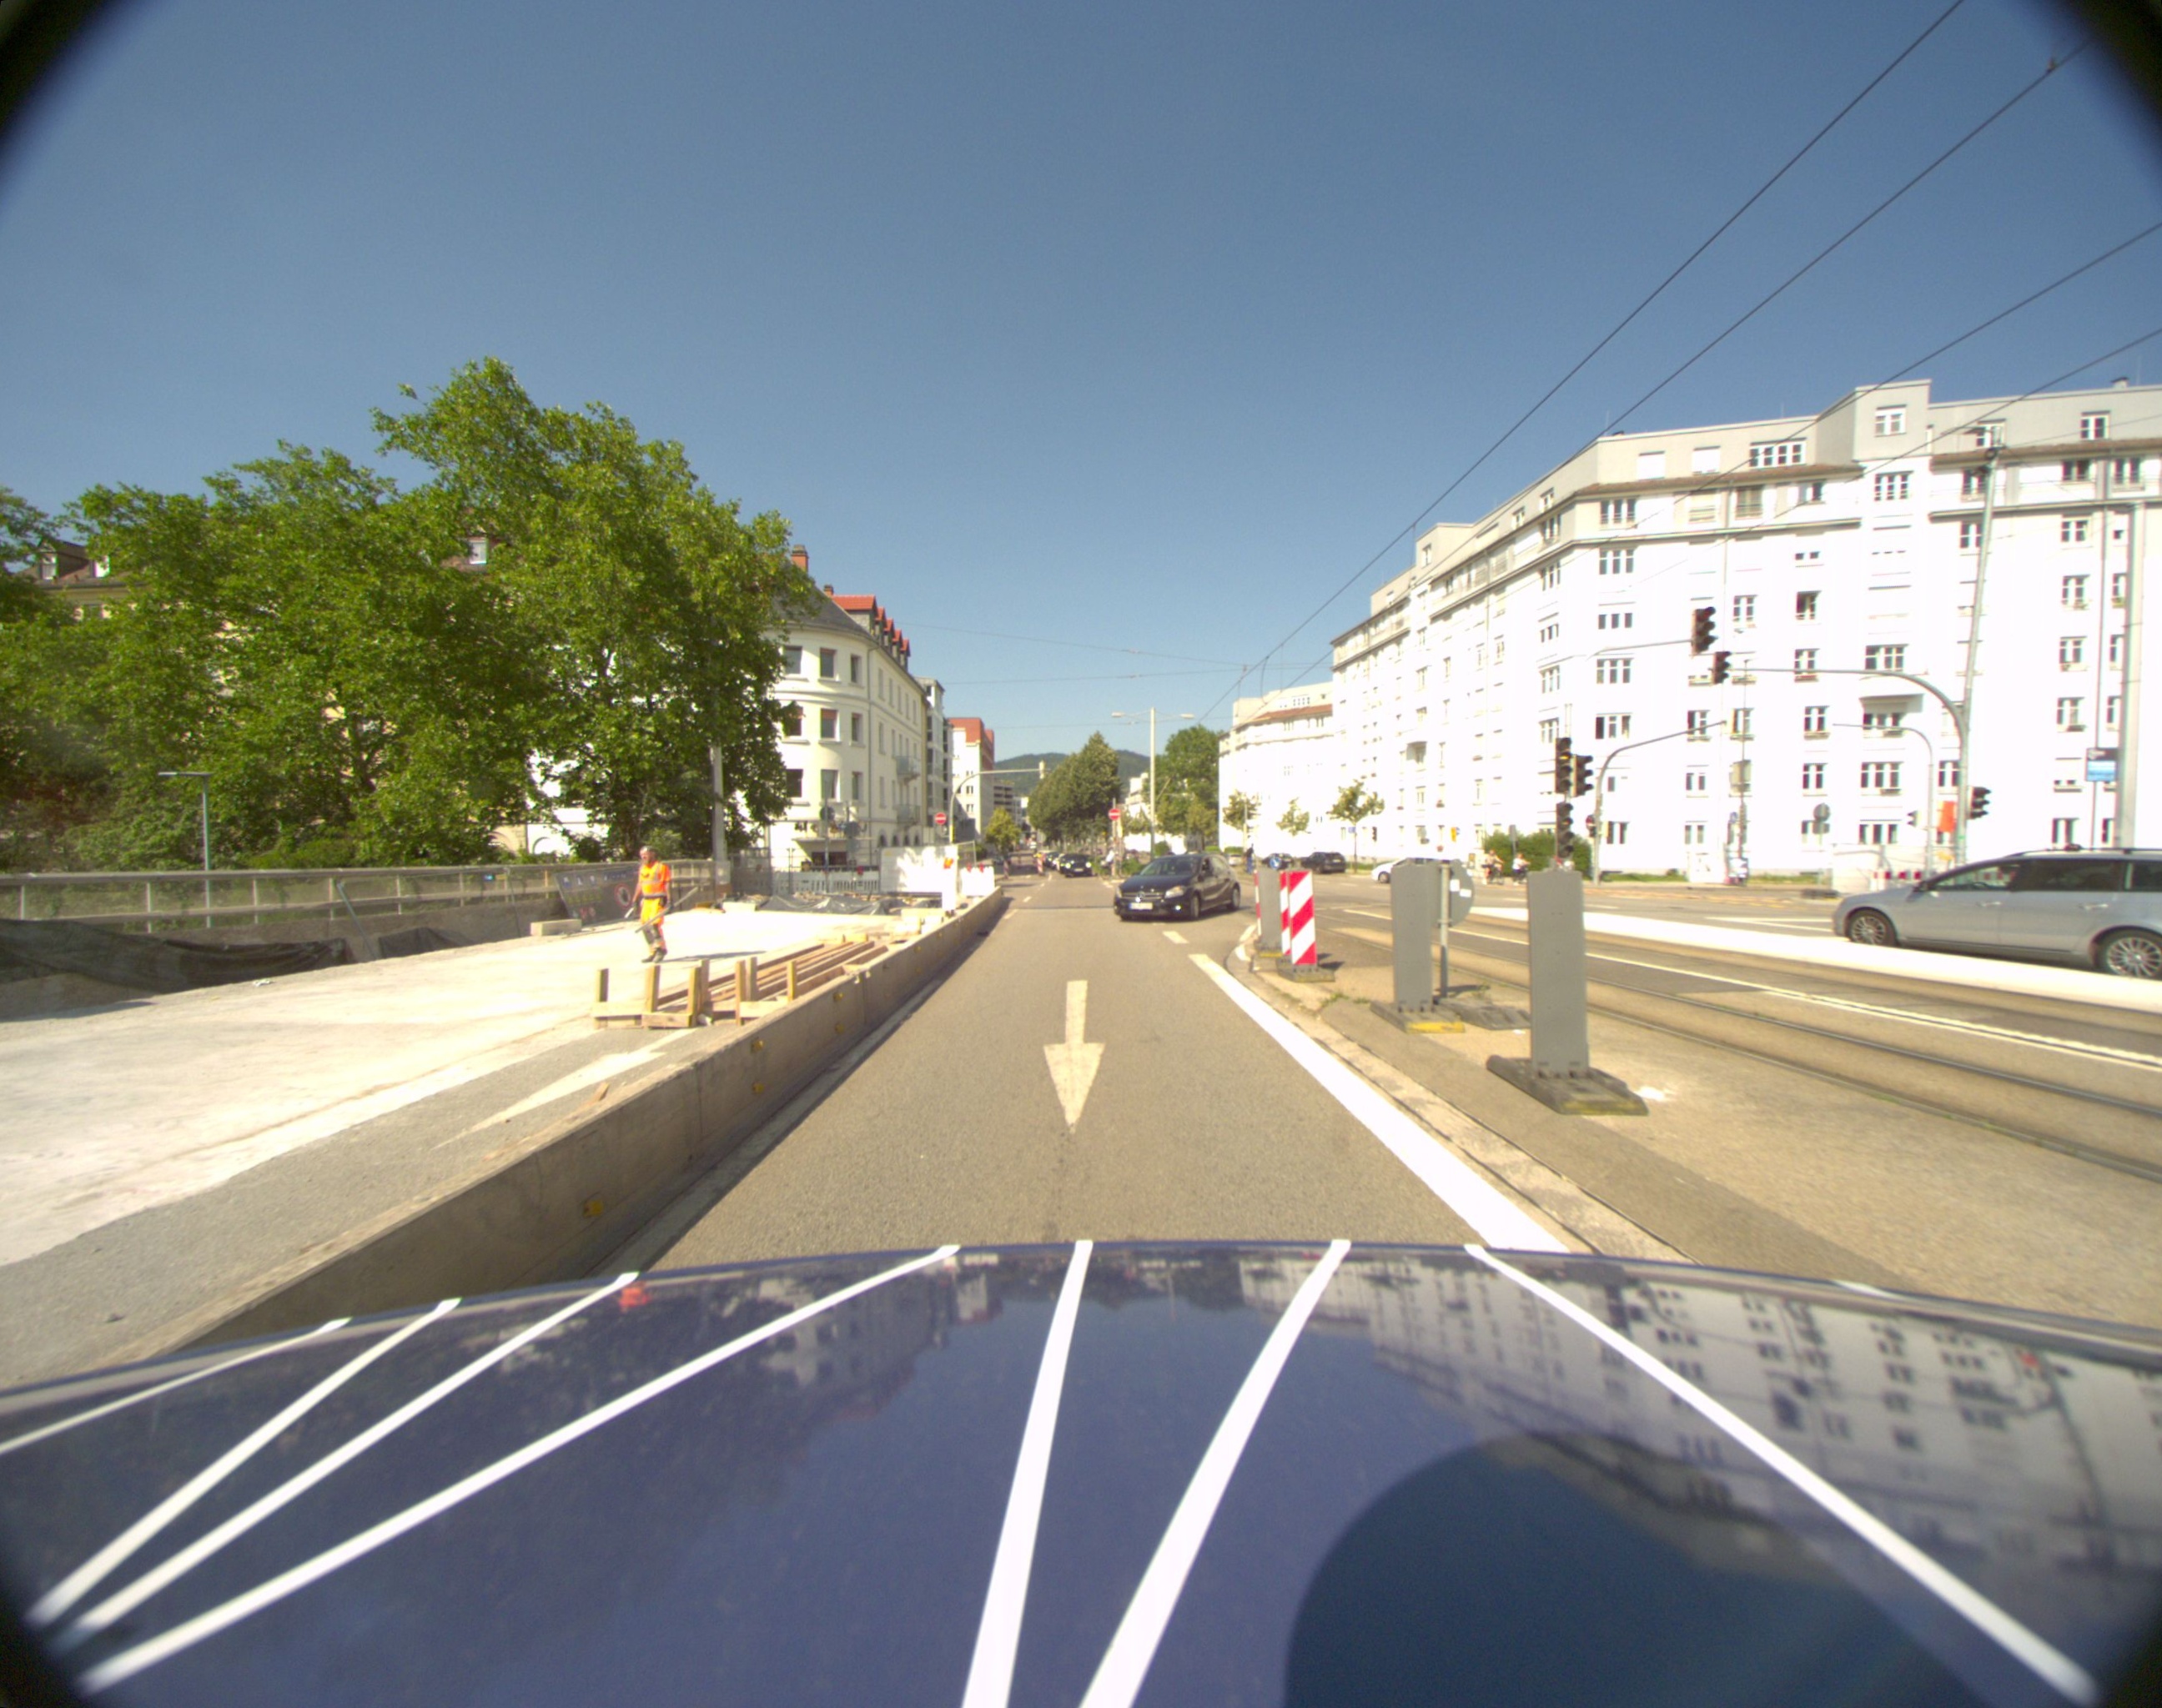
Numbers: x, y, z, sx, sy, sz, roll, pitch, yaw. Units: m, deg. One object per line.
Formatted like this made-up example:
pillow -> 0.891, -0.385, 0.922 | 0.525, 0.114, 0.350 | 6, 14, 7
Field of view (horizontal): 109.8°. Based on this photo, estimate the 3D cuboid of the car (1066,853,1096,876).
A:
car -> 0.046, 0.658, 48.496 | 1.767, 1.313, 4.000 | -1, 0, 1

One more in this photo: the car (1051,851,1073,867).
car -> -1.734, 0.455, 68.351 | 1.767, 1.346, 3.998 | -1, 1, -4

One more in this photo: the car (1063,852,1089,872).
car -> -0.388, 0.541, 56.234 | 1.767, 1.346, 3.999 | -1, 0, -1

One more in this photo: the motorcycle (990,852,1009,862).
motorcycle -> -9.559, 0.356, 89.135 | 2.177, 1.159, 0.744 | 0, 1, 1

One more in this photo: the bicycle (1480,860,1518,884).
bicycle -> 20.763, 0.865, 37.790 | 0.619, 1.093, 1.784 | -1, 2, -12

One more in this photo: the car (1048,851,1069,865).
car -> -2.249, 0.357, 75.387 | 1.768, 1.346, 3.997 | -1, 1, -6

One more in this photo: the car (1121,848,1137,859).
car -> 6.445, -0.073, 102.488 | 1.696, 1.547, 3.654 | 0, 1, -3

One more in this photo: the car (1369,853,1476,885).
car -> 16.595, 0.683, 37.132 | 1.705, 1.404, 4.473 | -1, 1, -39

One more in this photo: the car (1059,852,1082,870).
car -> -0.881, 0.524, 62.004 | 1.767, 1.346, 3.999 | -1, 0, -2

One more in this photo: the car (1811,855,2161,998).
car -> 11.940, 0.763, 9.232 | 1.642, 1.429, 4.643 | 1, 1, 0

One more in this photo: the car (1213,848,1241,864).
car -> 14.357, 0.166, 74.805 | 1.740, 1.476, 3.738 | -1, 1, -5

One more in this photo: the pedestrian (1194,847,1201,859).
pedestrian -> 16.534, -0.157, 107.728 | 0.858, 1.656, 0.910 | 0, 1, 0

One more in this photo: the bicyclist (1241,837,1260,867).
bicyclist -> 9.739, -0.112, 43.613 | 1.008, 1.644, 0.810 | -2, -1, 12

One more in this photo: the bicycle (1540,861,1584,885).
bicycle -> 22.934, 0.878, 36.274 | 0.605, 1.093, 1.812 | -1, 1, -16

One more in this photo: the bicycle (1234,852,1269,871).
bicycle -> 9.797, 0.436, 43.602 | 1.909, 1.014, 0.822 | -2, -1, 12

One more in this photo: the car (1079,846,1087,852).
car -> 0.492, -1.185, 183.076 | 1.798, 1.476, 3.739 | -1, 1, -3

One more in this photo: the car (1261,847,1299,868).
car -> 16.273, 0.286, 62.268 | 1.740, 1.628, 3.737 | -1, 1, -7

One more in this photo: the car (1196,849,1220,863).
car -> 13.883, 0.163, 83.060 | 1.740, 1.476, 3.738 | -1, 1, -5

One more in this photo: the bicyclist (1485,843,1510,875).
bicyclist -> 20.742, 0.240, 37.819 | 0.624, 1.581, 0.916 | -1, 2, -12

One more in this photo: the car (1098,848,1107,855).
car -> 4.855, -0.655, 172.867 | 1.798, 1.476, 3.739 | -1, 1, -3

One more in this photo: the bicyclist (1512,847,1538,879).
bicyclist -> 21.741, 0.427, 37.191 | 0.624, 1.570, 0.916 | -2, 1, -13

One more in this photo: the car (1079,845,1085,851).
car -> 0.289, -1.860, 222.282 | 1.798, 1.672, 3.739 | -1, 1, -3

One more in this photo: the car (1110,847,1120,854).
car -> 7.335, -0.842, 162.461 | 1.739, 1.476, 3.739 | -1, 1, -3

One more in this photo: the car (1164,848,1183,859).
car -> 12.525, -0.101, 103.155 | 1.740, 1.476, 3.738 | -1, 1, -5

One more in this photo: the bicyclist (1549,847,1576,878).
bicyclist -> 22.946, 0.408, 36.200 | 0.598, 1.469, 0.916 | -1, 1, -16

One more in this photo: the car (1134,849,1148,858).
car -> 9.929, -0.108, 126.628 | 1.740, 1.476, 3.738 | -1, 1, -5

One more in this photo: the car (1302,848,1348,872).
car -> 17.201, 0.375, 53.693 | 1.740, 1.628, 3.738 | -1, 1, -5

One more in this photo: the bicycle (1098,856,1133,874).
bicycle -> 1.922, 0.598, 42.043 | 1.820, 0.985, 0.709 | -1, 1, -15

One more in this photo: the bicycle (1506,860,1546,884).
bicycle -> 21.753, 0.874, 37.170 | 0.628, 1.093, 1.784 | -2, 1, -13

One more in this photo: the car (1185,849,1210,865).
car -> 11.501, 0.260, 75.106 | 1.594, 1.484, 3.660 | 1, 1, -4

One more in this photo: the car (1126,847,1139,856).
car -> 9.168, -0.456, 135.131 | 1.740, 1.476, 3.738 | -1, 1, -5

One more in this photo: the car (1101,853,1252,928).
car -> 2.372, 0.760, 17.683 | 1.699, 1.400, 4.631 | -2, 0, 31

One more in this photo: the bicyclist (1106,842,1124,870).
bicyclist -> 1.887, 0.127, 42.028 | 0.785, 1.541, 0.709 | -1, 1, -15

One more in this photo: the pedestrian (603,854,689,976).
pedestrian -> -6.656, 0.905, 11.658 | 0.821, 1.785, 0.863 | 1, 1, -1
